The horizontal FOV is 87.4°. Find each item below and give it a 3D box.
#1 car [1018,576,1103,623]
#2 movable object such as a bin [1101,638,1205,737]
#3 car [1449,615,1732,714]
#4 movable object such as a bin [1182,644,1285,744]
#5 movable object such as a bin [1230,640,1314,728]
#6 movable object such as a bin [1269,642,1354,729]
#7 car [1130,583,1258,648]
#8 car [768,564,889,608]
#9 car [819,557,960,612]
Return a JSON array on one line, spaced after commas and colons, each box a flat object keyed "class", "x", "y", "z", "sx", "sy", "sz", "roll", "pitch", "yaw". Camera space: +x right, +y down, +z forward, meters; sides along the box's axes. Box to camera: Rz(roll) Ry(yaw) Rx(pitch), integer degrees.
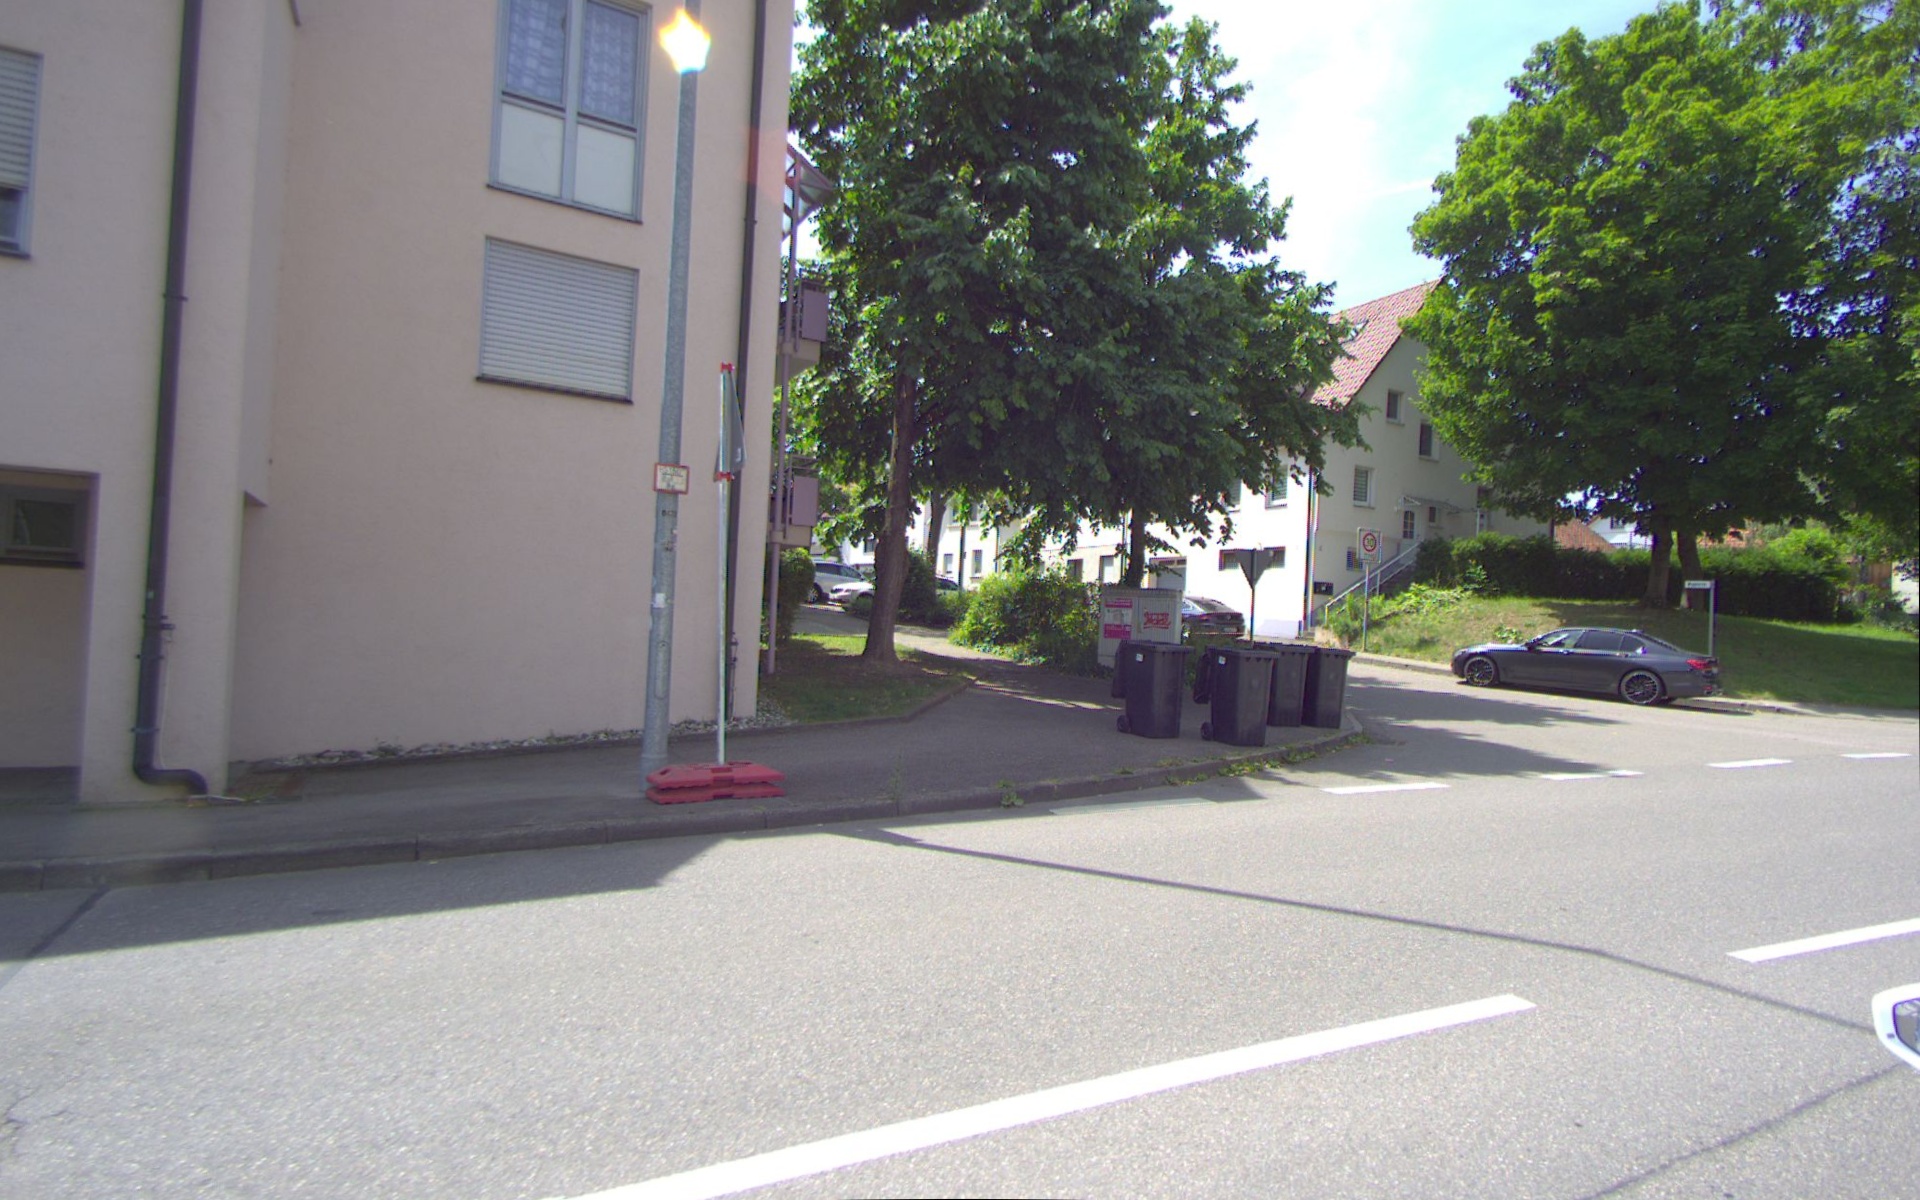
[{"class": "car", "x": 4.054, "y": -0.054, "z": 41.180, "sx": 1.749, "sy": 1.669, "sz": 3.976, "roll": 1, "pitch": 3, "yaw": -23}, {"class": "movable object such as a bin", "x": 2.163, "y": 0.967, "z": 11.308, "sx": 0.794, "sy": 1.014, "sz": 0.798, "roll": 2, "pitch": 1, "yaw": -24}, {"class": "car", "x": 13.348, "y": 1.291, "z": 21.480, "sx": 1.987, "sy": 1.499, "sz": 4.726, "roll": 3, "pitch": 2, "yaw": -45}, {"class": "movable object such as a bin", "x": 3.001, "y": 1.020, "z": 11.067, "sx": 0.684, "sy": 1.013, "sz": 0.849, "roll": 2, "pitch": 0, "yaw": -24}, {"class": "movable object such as a bin", "x": 4.020, "y": 1.074, "z": 12.985, "sx": 0.601, "sy": 1.013, "sz": 0.769, "roll": 4, "pitch": 2, "yaw": -24}, {"class": "movable object such as a bin", "x": 4.588, "y": 1.110, "z": 13.144, "sx": 0.600, "sy": 1.013, "sz": 0.769, "roll": 4, "pitch": 2, "yaw": -23}, {"class": "car", "x": 7.310, "y": 0.444, "z": 31.735, "sx": 1.882, "sy": 1.706, "sz": 3.977, "roll": 3, "pitch": 3, "yaw": -23}, {"class": "car", "x": -4.927, "y": -0.491, "z": 37.574, "sx": 4.061, "sy": 1.437, "sz": 1.988, "roll": 2, "pitch": 0, "yaw": -24}, {"class": "car", "x": -2.265, "y": -0.470, "z": 32.368, "sx": 4.093, "sy": 1.588, "sz": 1.986, "roll": 2, "pitch": 0, "yaw": -27}]
